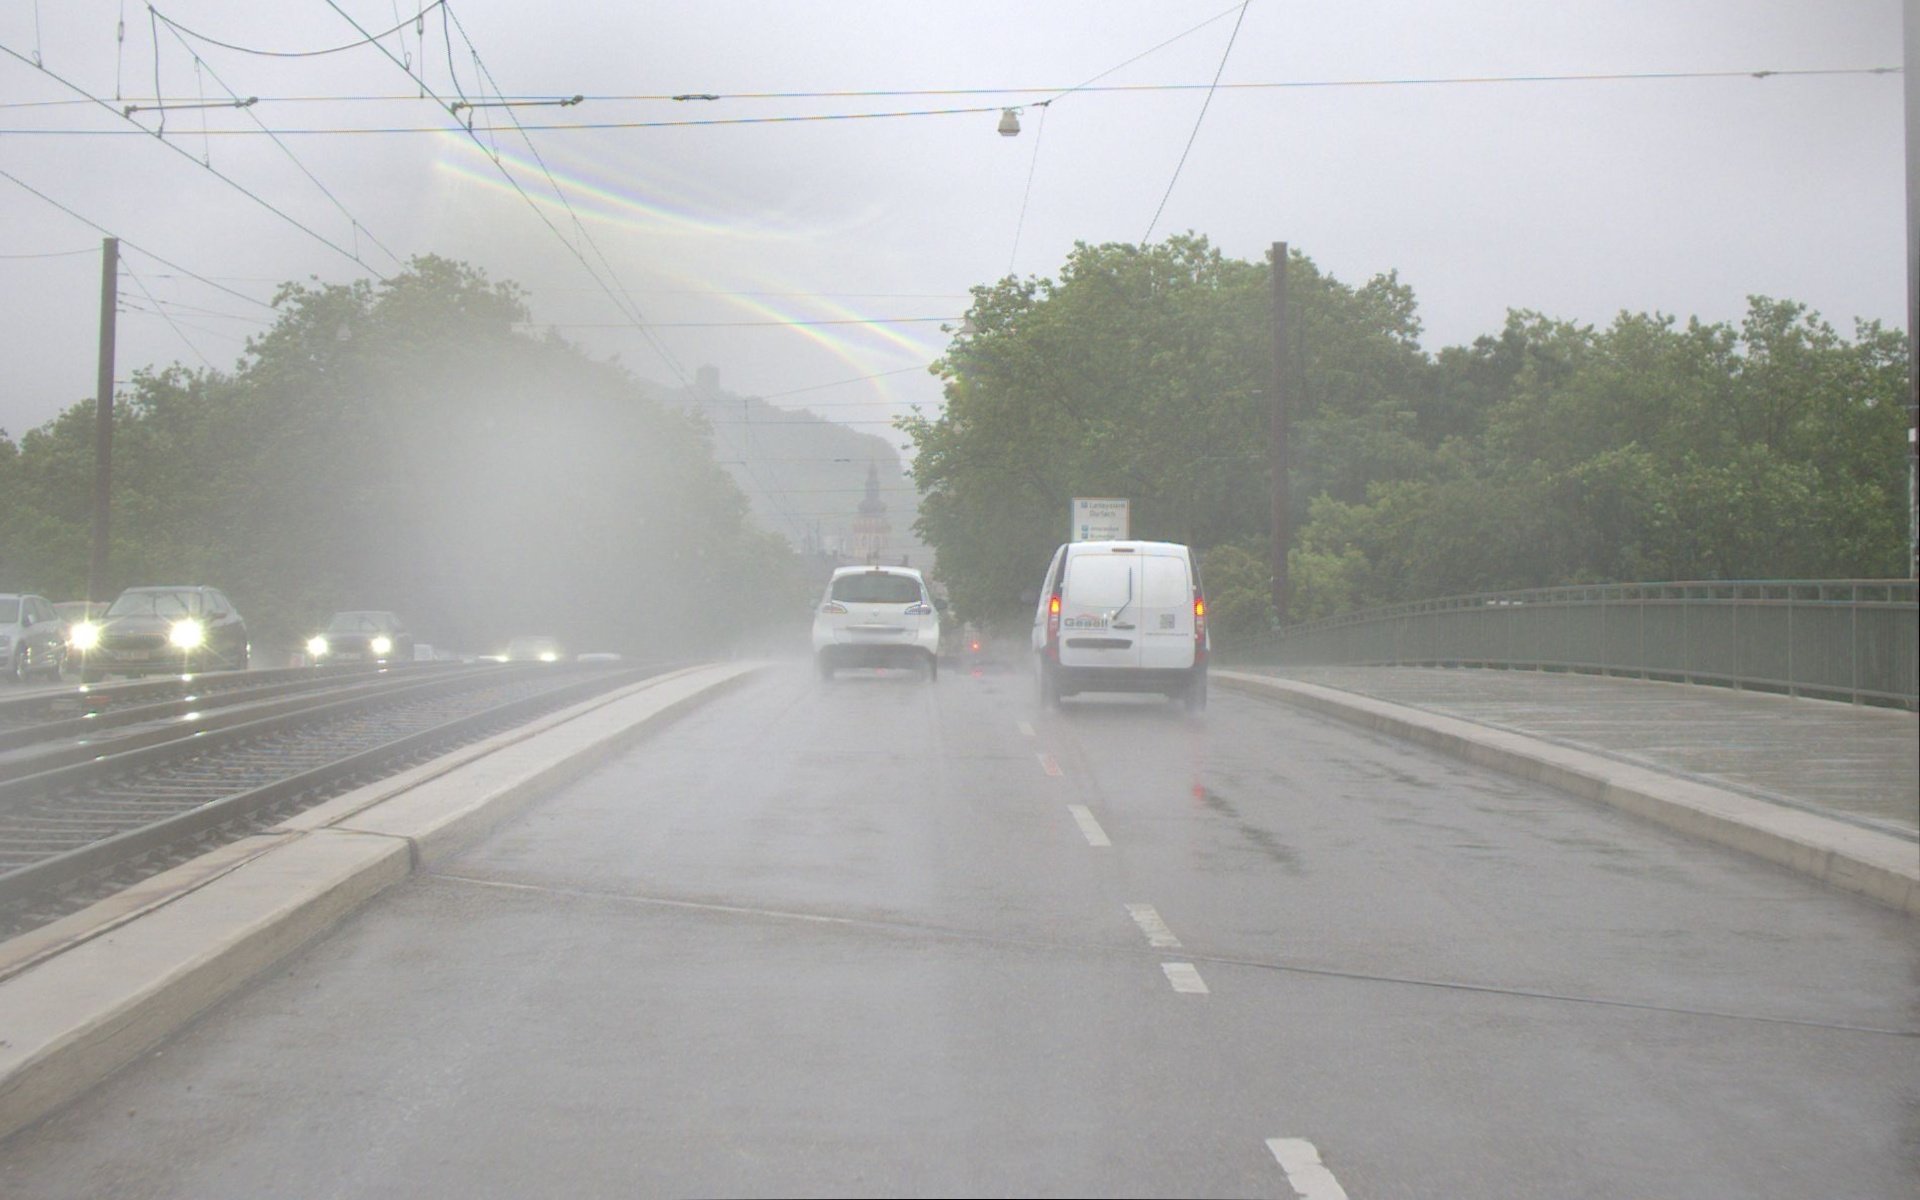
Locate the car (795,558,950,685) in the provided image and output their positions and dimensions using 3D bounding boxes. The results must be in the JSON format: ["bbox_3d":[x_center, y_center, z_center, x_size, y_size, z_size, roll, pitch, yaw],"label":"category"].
[{"bbox_3d":[-1.232,0.335,50.158,1.993,1.711,4.000,2,-1,2],"label":"car"}]

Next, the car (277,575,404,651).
[{"bbox_3d":[-13.018,0.288,72.444,1.993,1.504,4.092,-1,-1,-2],"label":"car"}]

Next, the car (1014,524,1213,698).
[{"bbox_3d":[1.626,0.144,37.291,1.993,1.720,4.000,2,-1,2],"label":"car"}]

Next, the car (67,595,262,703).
[{"bbox_3d":[-12.015,0.747,52.249,1.993,1.504,5.114,-1,-1,-3],"label":"car"}]

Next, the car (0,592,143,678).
[{"bbox_3d":[-15.895,0.635,61.465,1.620,1.451,4.322,-1,-1,-2],"label":"car"}]

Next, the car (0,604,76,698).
[{"bbox_3d":[-15.809,0.846,55.472,1.993,1.451,4.620,-1,-1,-2],"label":"car"}]
